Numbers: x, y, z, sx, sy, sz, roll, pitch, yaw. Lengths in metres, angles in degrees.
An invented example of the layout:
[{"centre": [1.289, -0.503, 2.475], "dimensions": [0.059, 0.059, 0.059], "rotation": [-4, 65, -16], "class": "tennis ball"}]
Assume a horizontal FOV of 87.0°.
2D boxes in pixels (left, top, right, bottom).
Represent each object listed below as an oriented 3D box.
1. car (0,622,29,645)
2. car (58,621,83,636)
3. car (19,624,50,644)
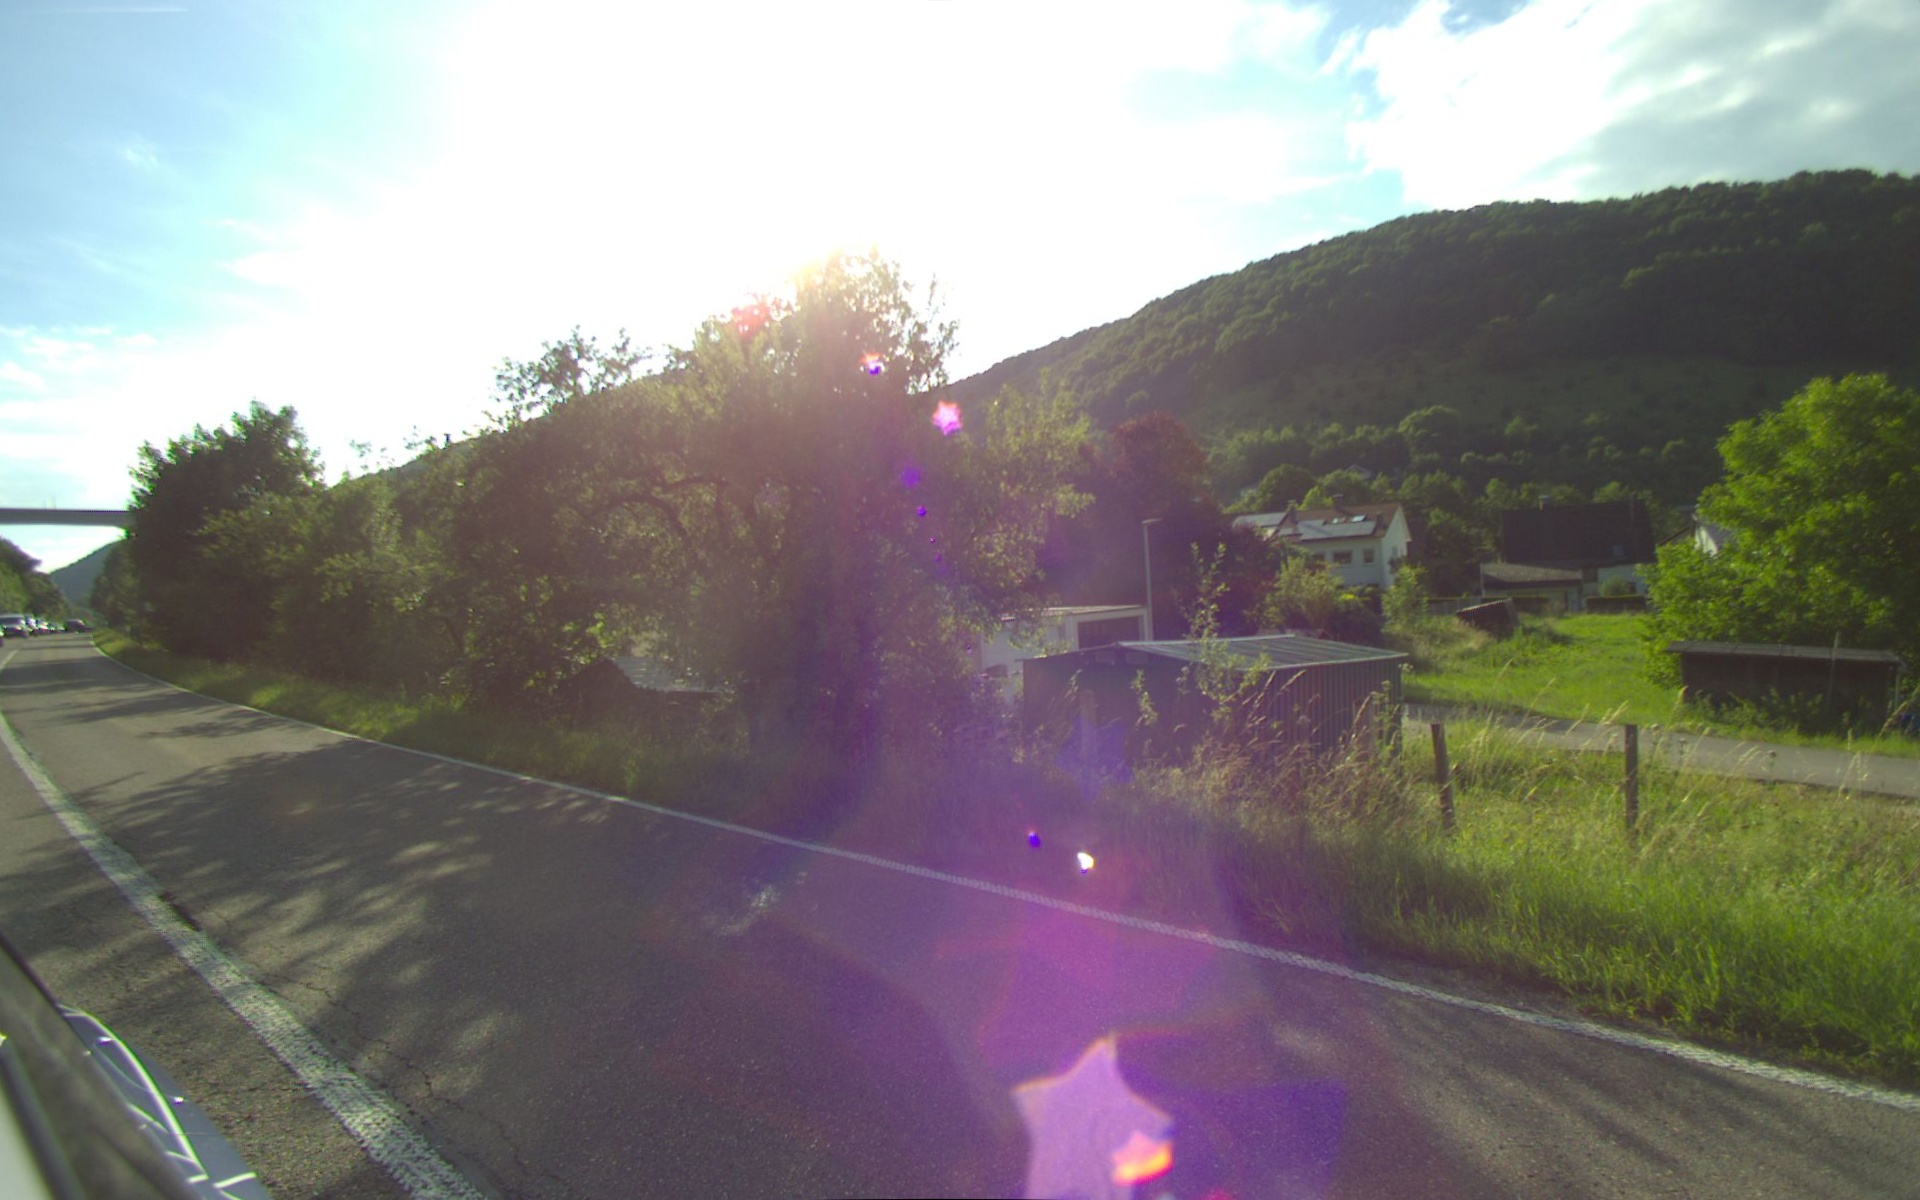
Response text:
[{"centre": [-68.975, 2.390, 73.467], "dimensions": [1.791, 1.630, 4.007], "rotation": [1, -2, -39], "class": "car"}, {"centre": [-95.194, 3.016, 108.293], "dimensions": [1.792, 1.630, 3.809], "rotation": [1, -2, -43], "class": "car"}, {"centre": [-76.949, 2.836, 84.171], "dimensions": [1.792, 1.630, 4.005], "rotation": [1, -2, -41], "class": "car"}]
